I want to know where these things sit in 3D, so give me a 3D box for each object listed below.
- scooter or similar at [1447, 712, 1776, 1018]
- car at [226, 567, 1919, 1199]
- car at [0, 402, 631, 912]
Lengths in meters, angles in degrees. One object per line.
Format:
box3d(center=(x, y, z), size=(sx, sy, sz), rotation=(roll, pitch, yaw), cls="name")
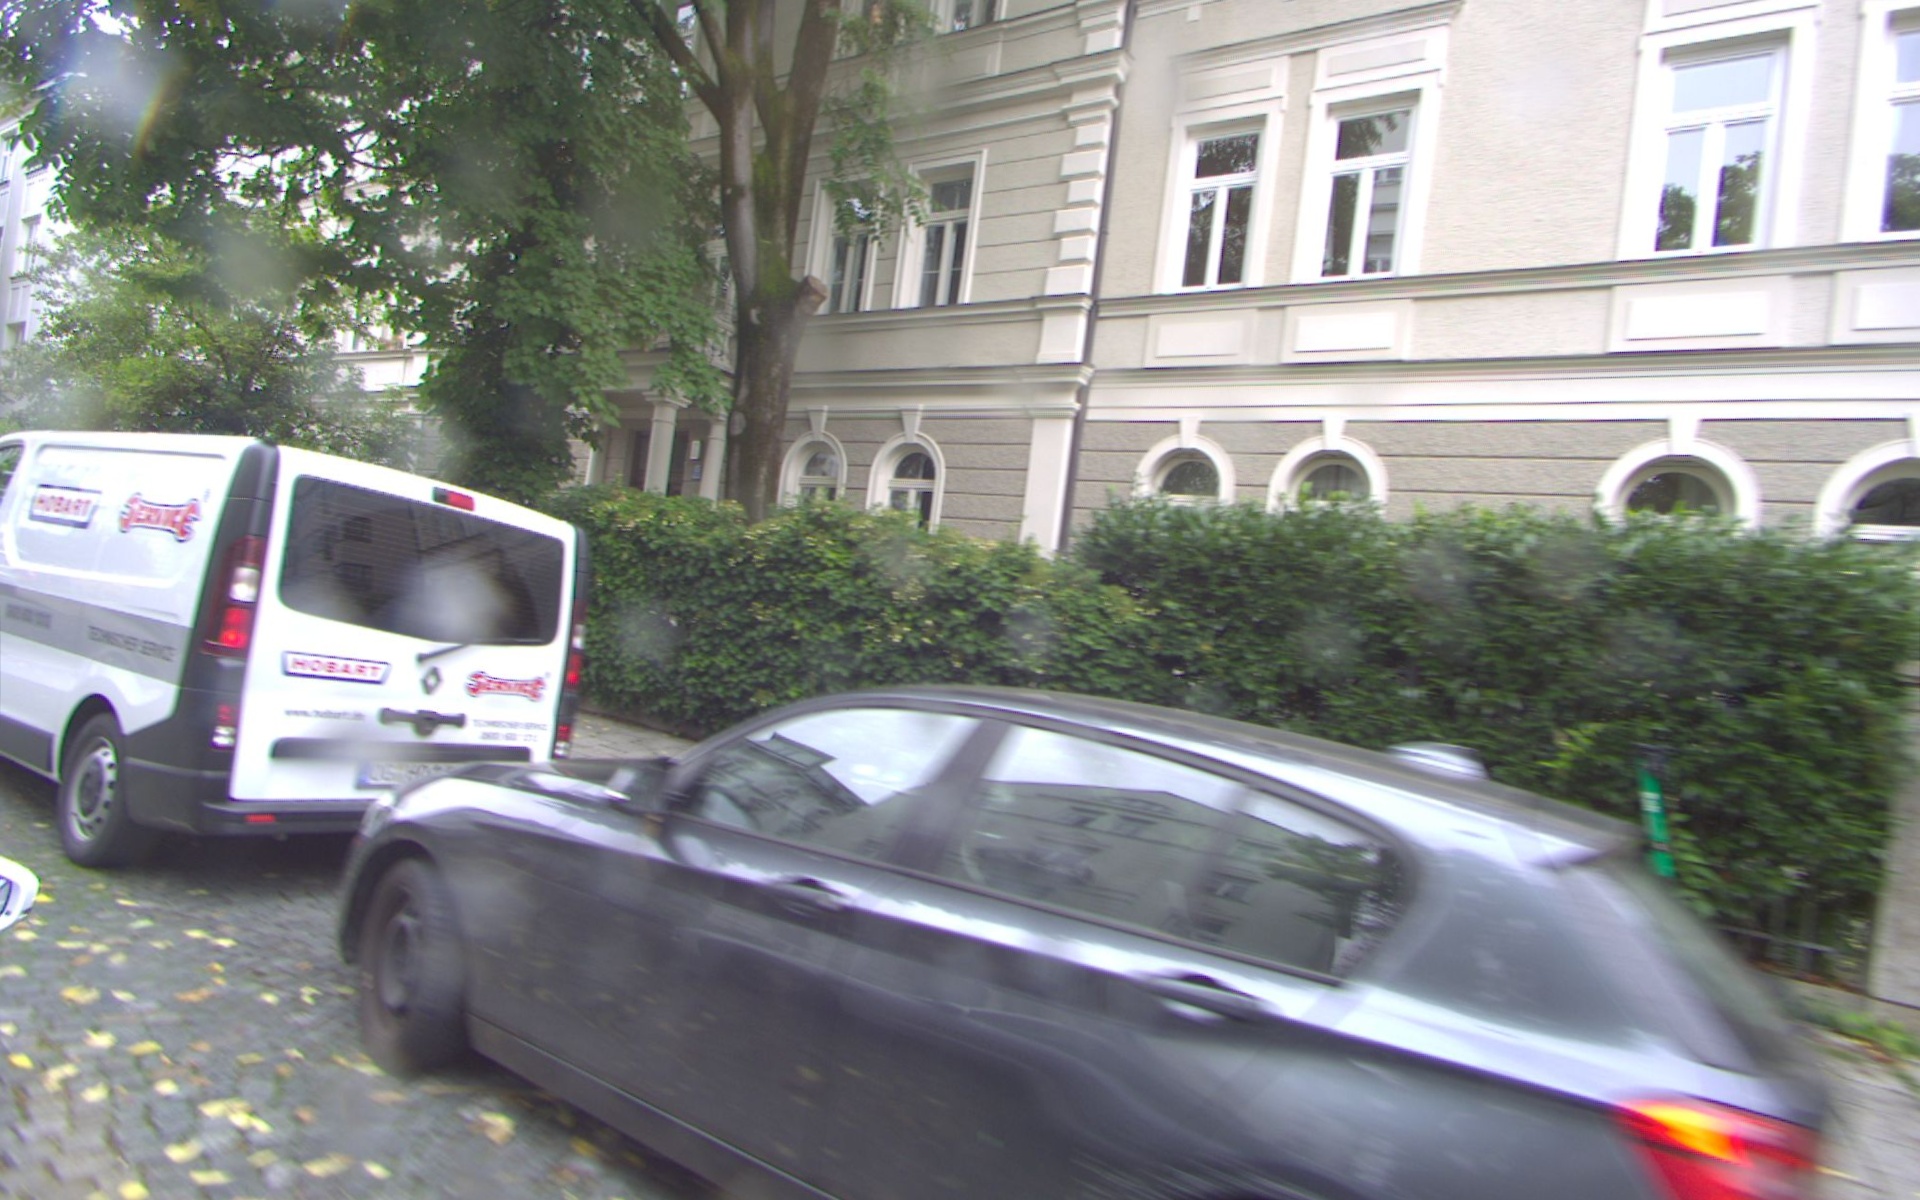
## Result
box3d(center=(3.296, 1.310, 5.197), size=(1.223, 1.251, 0.415), rotation=(7, 3, 20), cls="scooter or similar")
box3d(center=(-0.052, 0.977, 2.975), size=(4.349, 1.506, 1.842), rotation=(7, -4, 33), cls="car")
box3d(center=(-4.573, 0.078, 5.927), size=(5.076, 1.948, 1.880), rotation=(7, -4, 30), cls="car")
